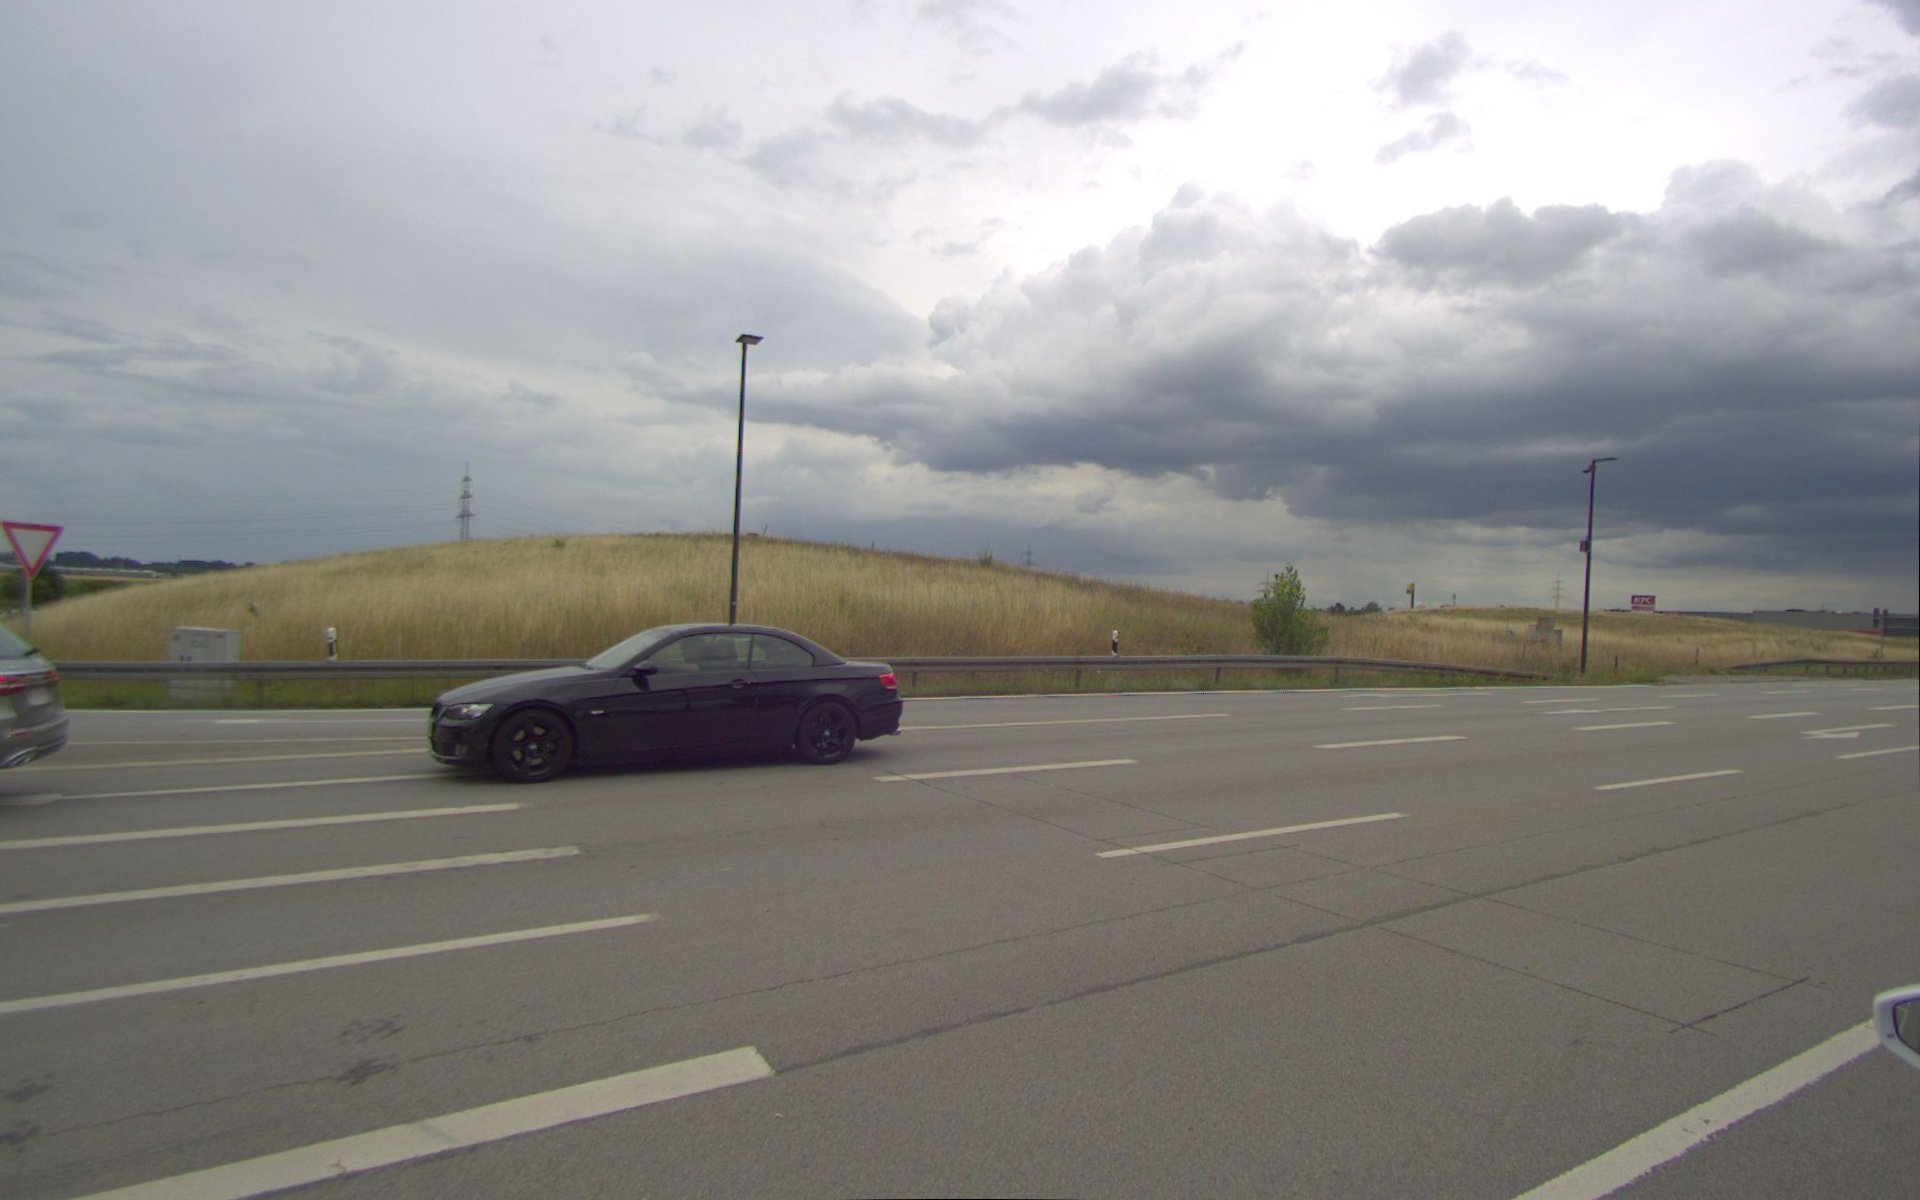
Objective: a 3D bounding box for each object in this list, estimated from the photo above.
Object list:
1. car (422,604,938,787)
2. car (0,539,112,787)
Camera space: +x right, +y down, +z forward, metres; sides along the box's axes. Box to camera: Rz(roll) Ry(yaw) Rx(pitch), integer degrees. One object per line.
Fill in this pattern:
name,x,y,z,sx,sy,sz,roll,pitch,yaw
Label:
car,-2.637,0.848,9.953,4.624,1.429,1.697,3,-1,-33
car,-8.664,0.386,6.253,4.895,1.631,1.904,2,-2,-33
